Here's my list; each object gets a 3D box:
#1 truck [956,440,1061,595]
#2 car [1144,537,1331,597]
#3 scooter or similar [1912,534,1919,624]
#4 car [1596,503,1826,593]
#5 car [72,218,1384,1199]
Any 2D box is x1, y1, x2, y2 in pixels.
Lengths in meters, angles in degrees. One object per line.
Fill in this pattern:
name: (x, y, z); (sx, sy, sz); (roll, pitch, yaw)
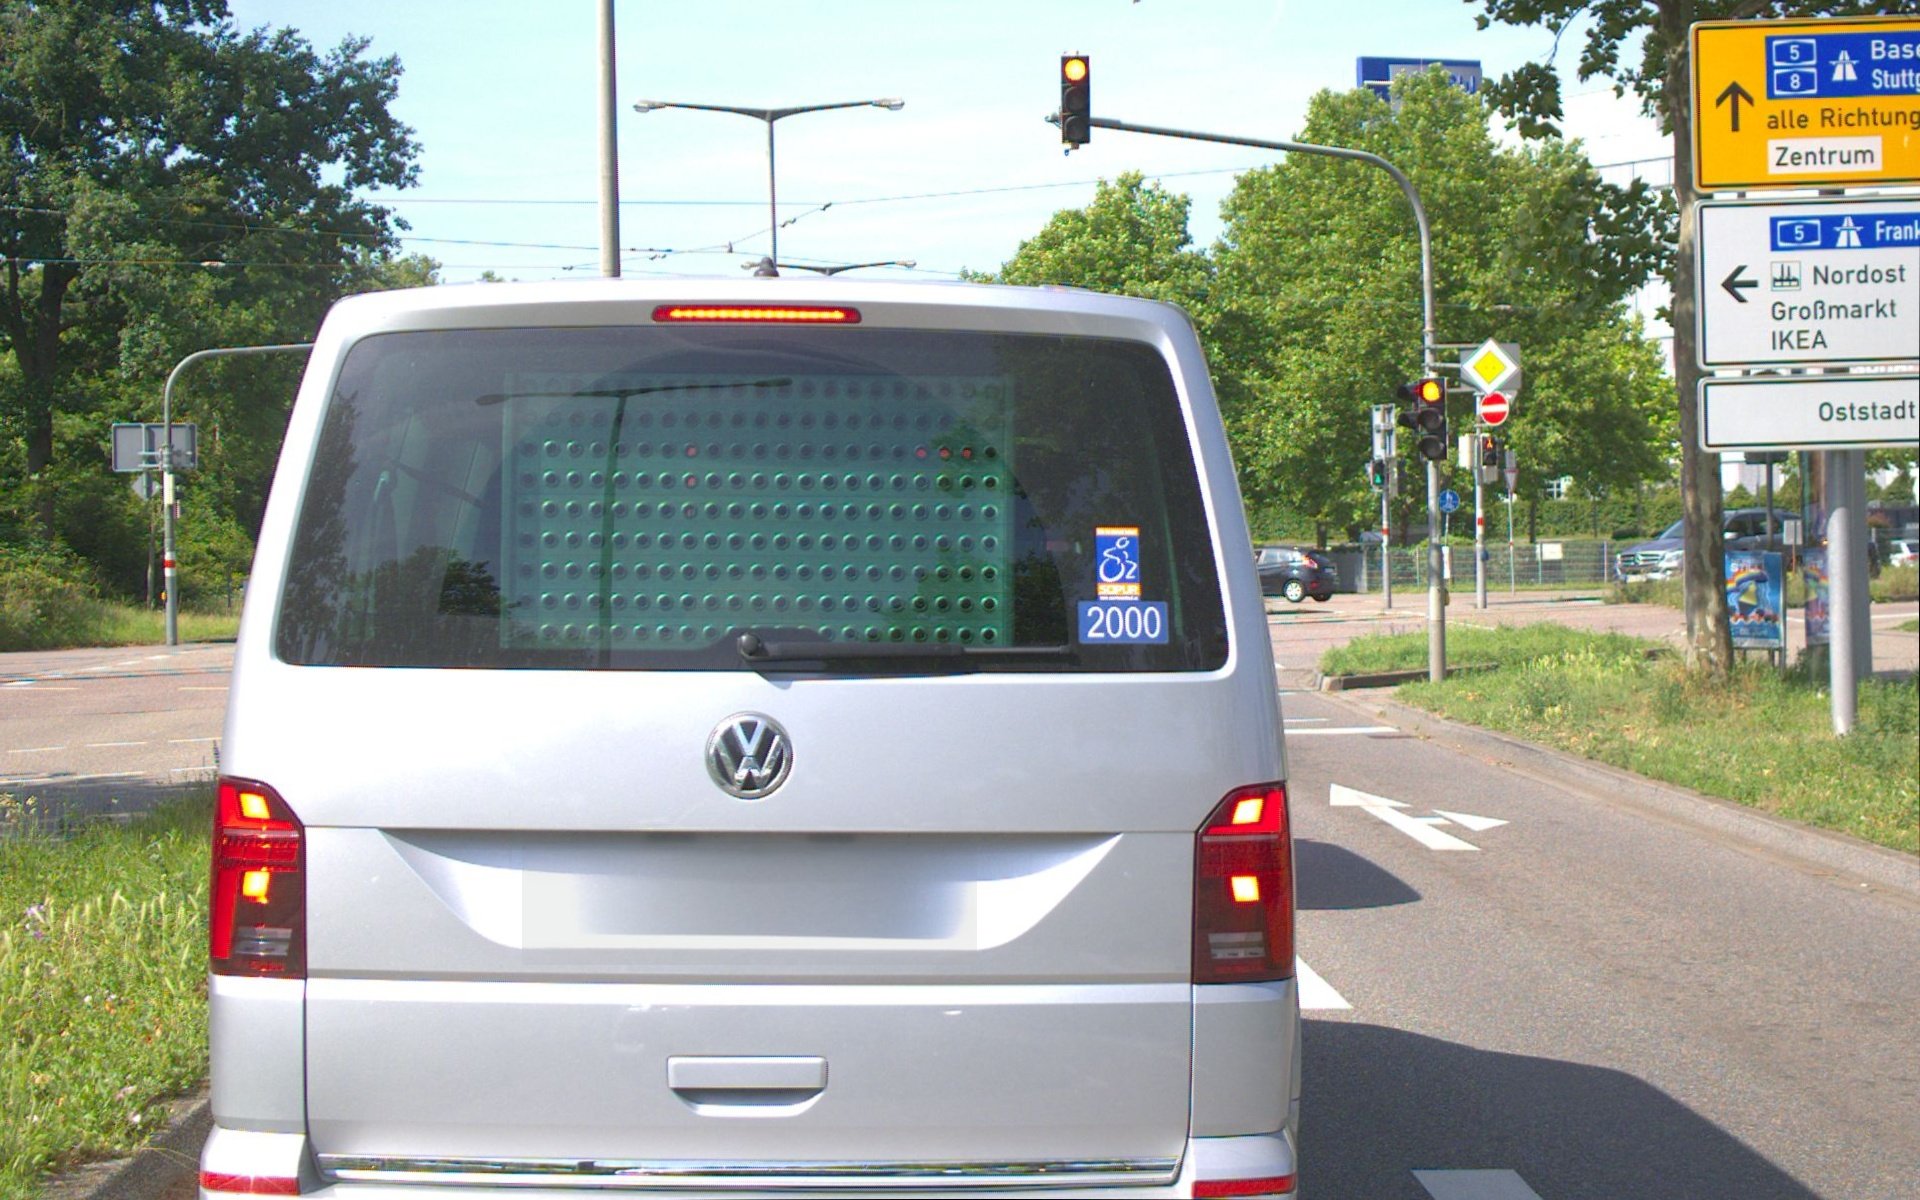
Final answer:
truck: (1.256, -2.198, 93.409); (2.552, 3.943, 8.975); (-1, 1, -1)
car: (7.110, -0.835, 88.310); (4.623, 1.439, 1.777); (0, 1, 42)
scooter or similar: (12.132, -0.258, 42.394); (0.424, 1.122, 1.124); (-1, 1, -1)
car: (15.054, -1.054, 68.812); (4.613, 1.683, 1.915); (-2, 1, -37)
car: (-0.369, 0.383, 7.643); (1.941, 1.965, 5.022); (-1, 1, -1)
